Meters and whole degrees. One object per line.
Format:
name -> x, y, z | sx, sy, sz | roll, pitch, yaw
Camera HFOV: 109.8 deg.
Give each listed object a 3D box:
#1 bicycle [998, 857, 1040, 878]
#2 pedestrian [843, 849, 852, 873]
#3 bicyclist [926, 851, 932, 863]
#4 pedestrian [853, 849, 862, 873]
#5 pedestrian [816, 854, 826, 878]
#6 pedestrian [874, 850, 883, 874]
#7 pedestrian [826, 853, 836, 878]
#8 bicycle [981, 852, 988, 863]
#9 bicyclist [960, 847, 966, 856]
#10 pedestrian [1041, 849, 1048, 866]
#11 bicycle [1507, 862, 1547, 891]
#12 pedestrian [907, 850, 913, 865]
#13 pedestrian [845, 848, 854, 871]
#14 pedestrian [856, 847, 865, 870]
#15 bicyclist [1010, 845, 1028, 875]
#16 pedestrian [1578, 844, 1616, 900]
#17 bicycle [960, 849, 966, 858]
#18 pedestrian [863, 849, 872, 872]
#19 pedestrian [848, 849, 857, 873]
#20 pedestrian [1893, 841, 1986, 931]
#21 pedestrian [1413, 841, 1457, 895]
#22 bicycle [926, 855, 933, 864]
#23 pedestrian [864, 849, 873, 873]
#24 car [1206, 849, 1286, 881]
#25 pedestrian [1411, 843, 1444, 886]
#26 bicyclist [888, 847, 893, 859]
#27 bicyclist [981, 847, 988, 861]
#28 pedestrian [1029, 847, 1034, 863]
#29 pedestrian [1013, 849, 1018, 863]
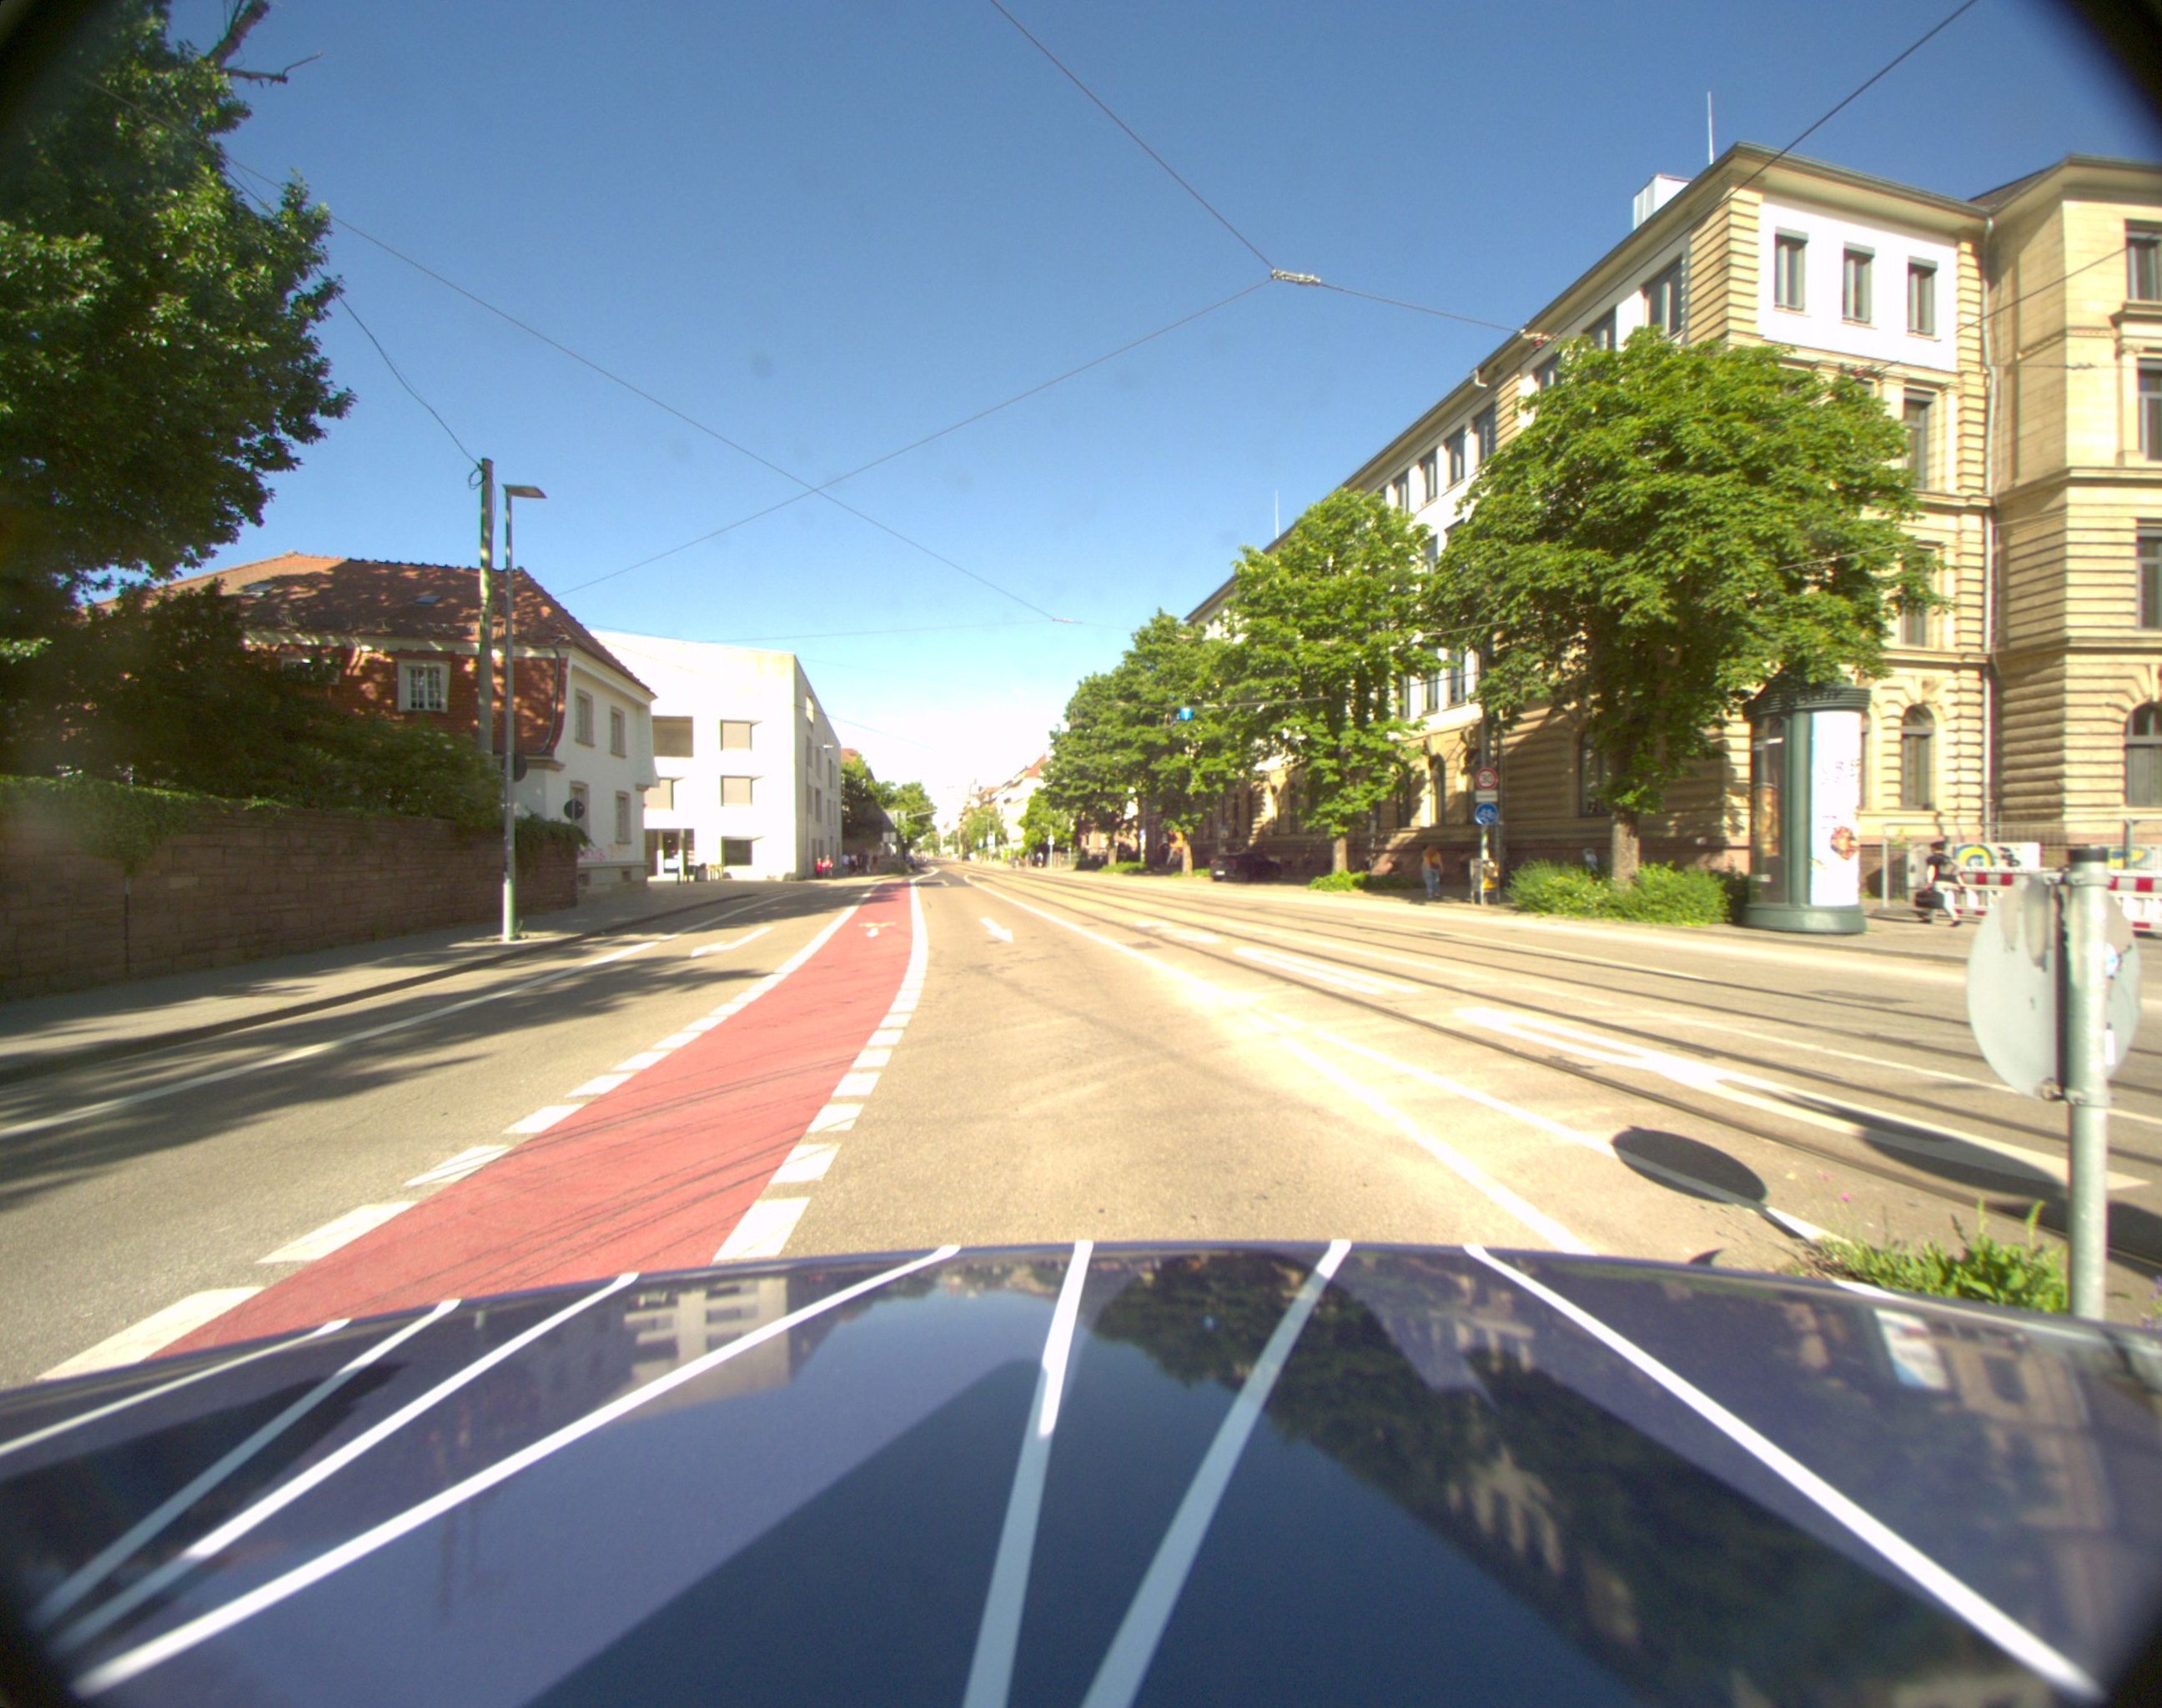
bicycle -> -6.147, 1.341, 75.492 | 3.897, 1.876, 1.002 | -2, 2, -19
pedestrian -> -17.258, 0.517, 56.219 | 0.588, 1.795, 0.545 | -1, 1, -13
bicyclist -> -19.397, 0.379, 97.201 | 0.665, 1.453, 0.622 | -2, 2, -8
pedestrian -> -16.563, 0.493, 56.380 | 0.588, 1.795, 0.545 | -1, 1, -13
pedestrian -> -16.535, 0.760, 48.254 | 0.535, 1.557, 0.519 | -1, 1, -13
pedestrian -> -15.122, 0.588, 56.701 | 0.588, 1.717, 0.519 | -1, 1, -13
pedestrian -> -15.920, 0.745, 48.332 | 0.535, 1.557, 0.519 | -1, 1, -13
bicycle -> -15.497, 0.595, 122.073 | 1.004, 1.672, 2.981 | -2, 2, -9
bicyclist -> -25.431, -0.532, 163.602 | 1.004, 1.712, 0.983 | -2, 2, -12
pedestrian -> -4.015, 0.407, 84.006 | 0.729, 1.845, 0.653 | 0, 1, -9
bicycle -> 15.233, 0.748, 25.973 | 0.398, 0.898, 1.359 | -2, 2, -10
pedestrian -> -18.892, 0.388, 83.941 | 0.679, 1.728, 0.931 | 0, 1, -10
pedestrian -> -18.240, 0.434, 59.860 | 0.588, 1.795, 0.545 | -1, 1, -13
pedestrian -> -17.419, 0.337, 60.029 | 0.588, 1.795, 0.545 | -1, 1, -13
bicyclist -> -6.173, 0.571, 75.442 | 1.475, 2.959, 1.002 | -2, 2, -19
pedestrian -> 14.664, 0.493, 21.606 | 0.579, 1.553, 0.653 | 0, 1, -12
bicycle -> -25.417, -0.116, 163.623 | 1.004, 1.672, 2.981 | -2, 2, -12
pedestrian -> -16.492, 0.490, 58.683 | 0.588, 1.795, 0.582 | -1, 1, -13
pedestrian -> -17.518, 0.541, 58.205 | 0.588, 1.795, 0.582 | -1, 1, -13
pedestrian -> 16.412, 0.591, 14.548 | 0.729, 1.660, 0.846 | 0, 3, -2
pedestrian -> 11.197, 0.463, 24.013 | 1.035, 1.658, 0.770 | 2, -4, -27
bicycle -> -19.390, 0.670, 97.230 | 0.665, 1.146, 1.670 | -2, 2, -8
pedestrian -> -15.806, 0.529, 56.480 | 0.588, 1.795, 0.519 | -1, 1, -13
car -> 8.624, 0.518, 39.472 | 4.118, 1.565, 1.916 | -1, 1, -39
pedestrian -> 13.237, 0.402, 29.069 | 0.858, 1.558, 0.672 | -4, 2, -7
bicyclist -> -35.028, -0.177, 139.740 | 0.813, 2.194, 0.983 | -2, 2, -10
bicyclist -> -15.509, 0.000, 122.007 | 1.004, 2.255, 1.019 | -2, 2, -9
pedestrian -> -6.015, 0.129, 92.740 | 0.579, 1.845, 0.653 | 0, 1, -11
pedestrian -> -8.531, 0.239, 99.133 | 0.579, 1.845, 0.684 | 0, 1, -11
